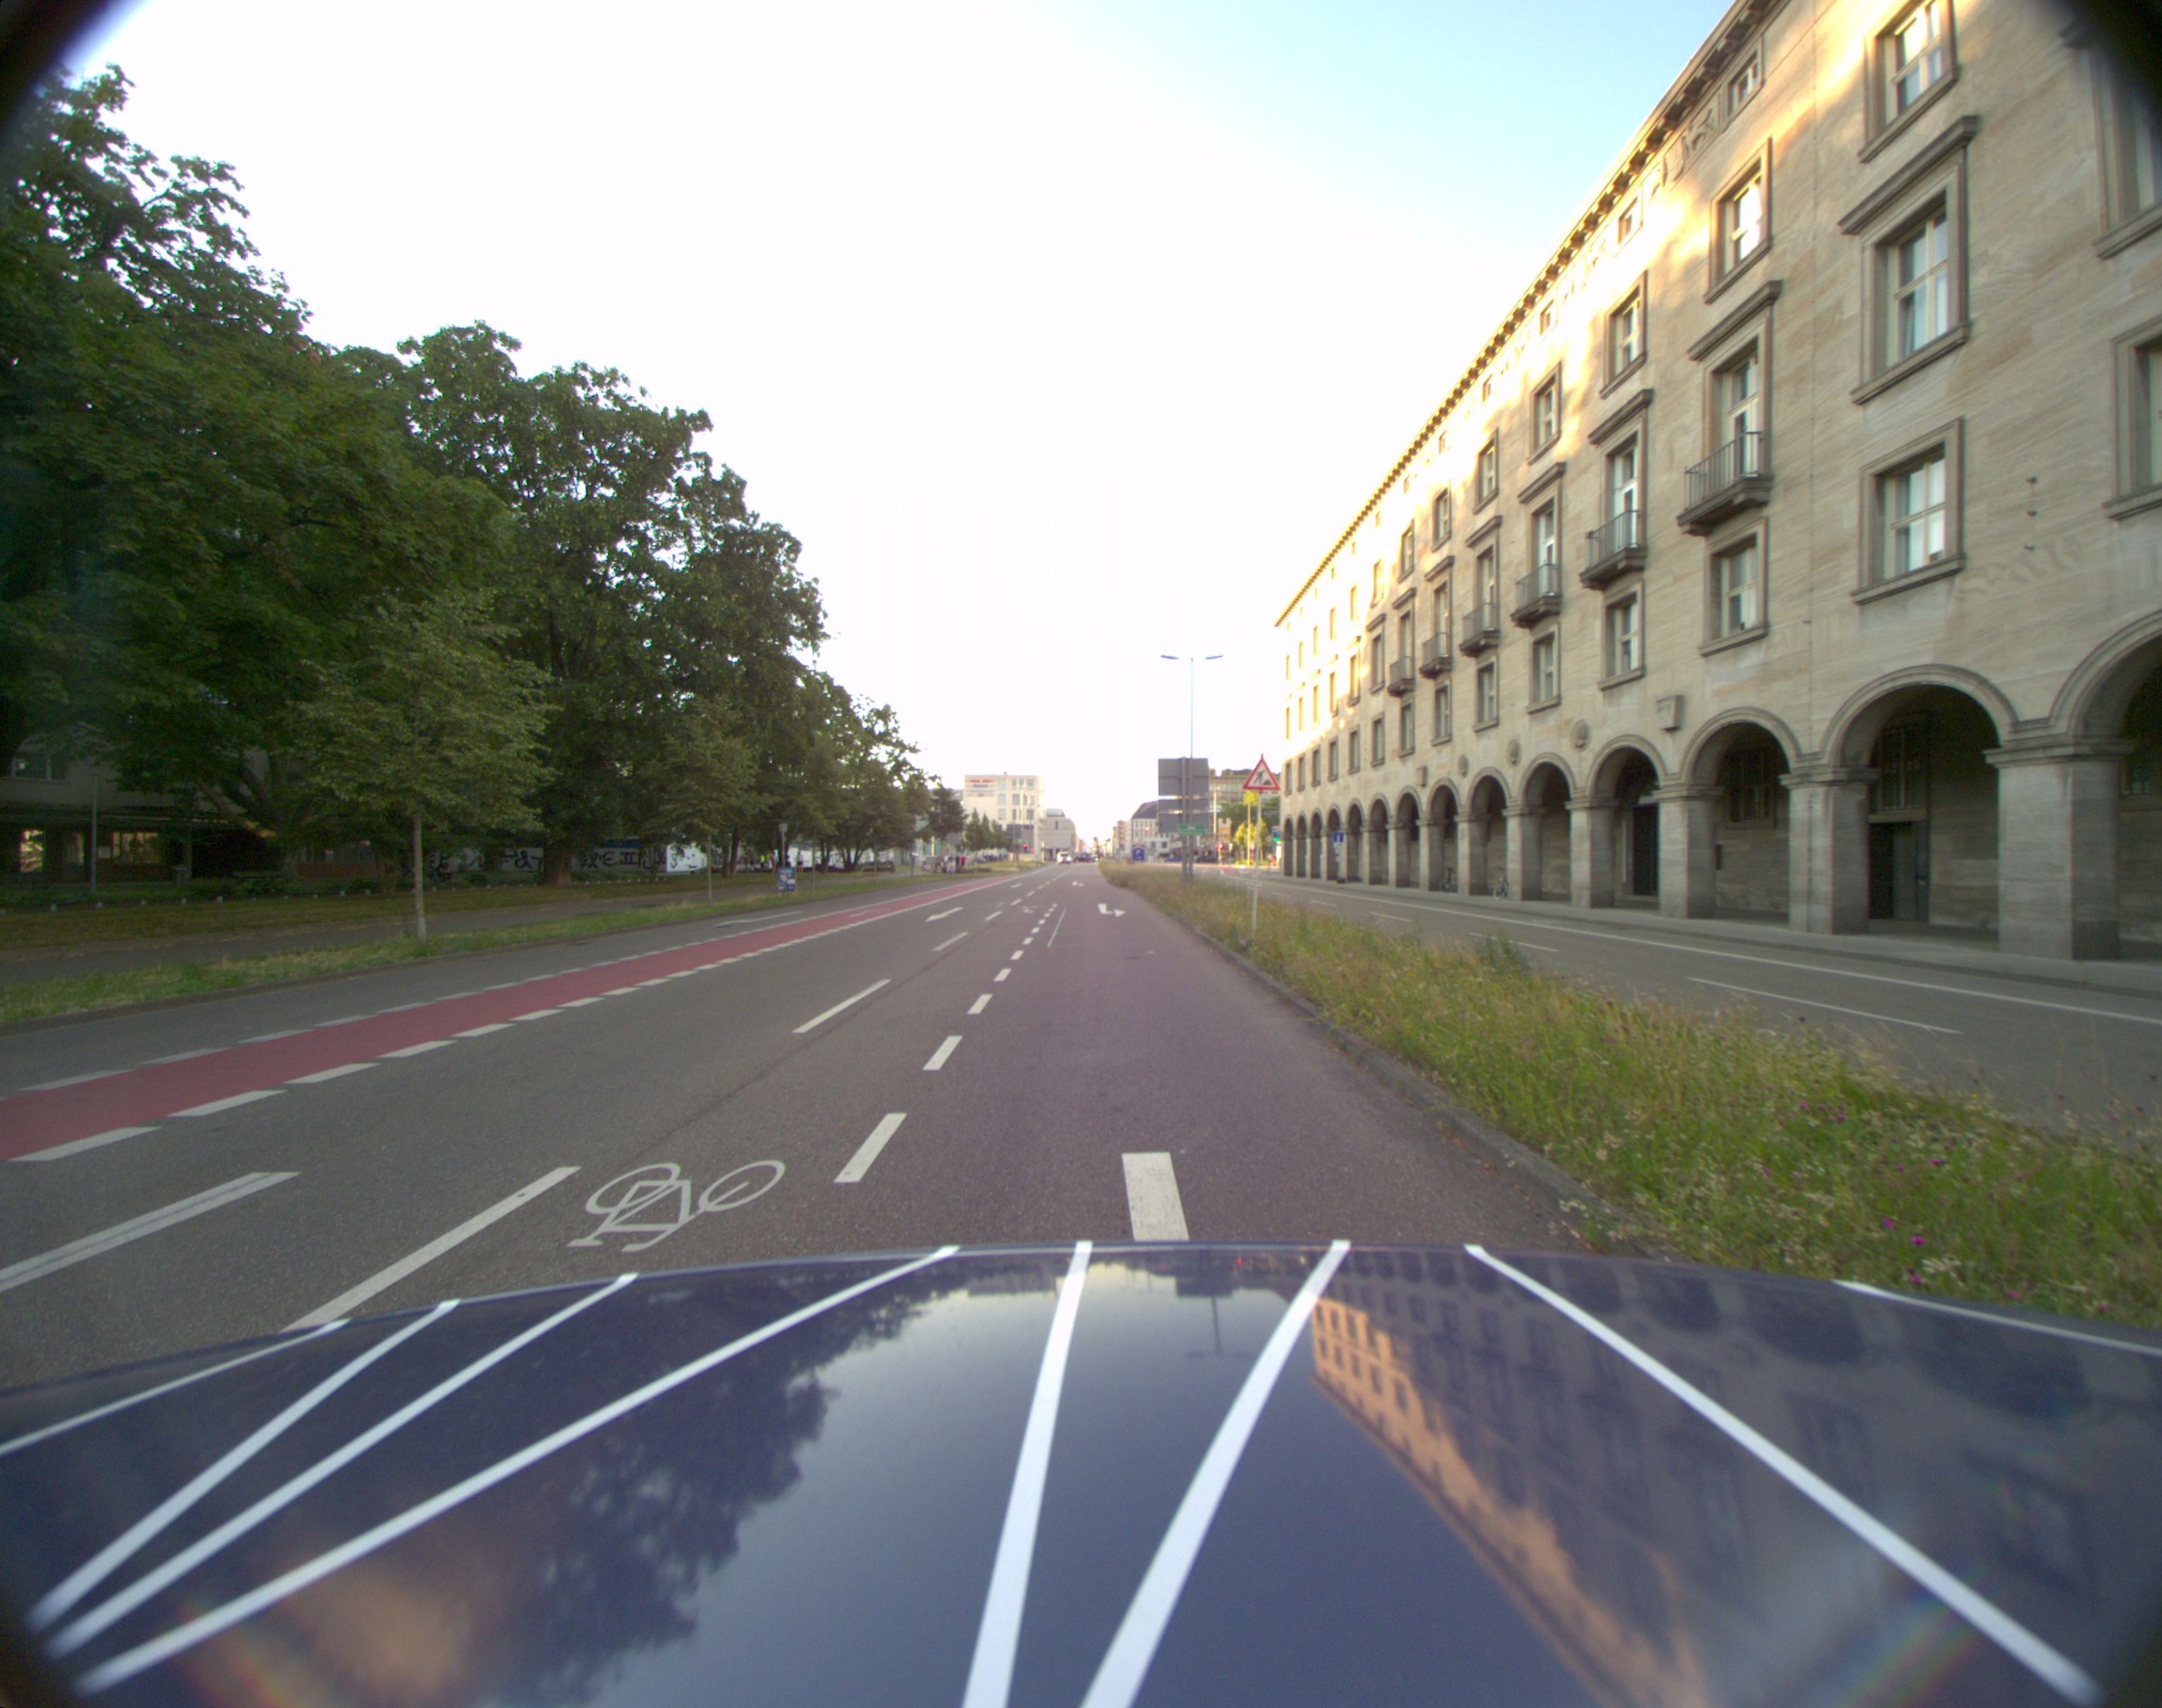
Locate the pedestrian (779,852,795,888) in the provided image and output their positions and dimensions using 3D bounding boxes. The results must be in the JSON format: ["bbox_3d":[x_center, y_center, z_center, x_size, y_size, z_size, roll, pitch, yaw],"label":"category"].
[{"bbox_3d":[-14.095,0.760,36.397,0.558,1.729,0.555,0,1,1],"label":"pedestrian"}]

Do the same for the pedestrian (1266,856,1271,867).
[{"bbox_3d":[27.118,1.122,109.841,0.526,1.532,0.390,0,1,1],"label":"pedestrian"}]

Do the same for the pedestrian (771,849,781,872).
[{"bbox_3d":[-20.845,0.424,51.893,0.500,1.592,0.365,0,1,1],"label":"pedestrian"}]

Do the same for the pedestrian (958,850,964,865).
[{"bbox_3d":[-14.219,0.430,90.238,0.638,1.747,0.506,0,1,1],"label":"pedestrian"}]

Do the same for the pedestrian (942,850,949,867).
[{"bbox_3d":[-13.618,0.468,76.237,0.509,1.720,0.719,0,1,1],"label":"pedestrian"}]

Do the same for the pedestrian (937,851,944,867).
[{"bbox_3d":[-14.641,0.517,79.273,0.519,1.720,0.719,0,1,1],"label":"pedestrian"}]

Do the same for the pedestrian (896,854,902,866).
[{"bbox_3d":[-20.159,0.657,84.120,0.519,1.347,0.773,0,1,1],"label":"pedestrian"}]

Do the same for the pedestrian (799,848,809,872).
[{"bbox_3d":[-18.887,0.422,51.872,0.500,1.592,0.522,0,1,1],"label":"pedestrian"}]

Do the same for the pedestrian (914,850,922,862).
[{"bbox_3d":[-19.168,0.249,89.334,0.728,1.347,0.614,0,1,1],"label":"pedestrian"}]

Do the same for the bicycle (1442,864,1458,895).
[{"bbox_3d":[14.997,1.028,30.884,0.513,1.172,2.427,0,0,25],"label":"bicycle"}]

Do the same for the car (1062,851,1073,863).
[{"bbox_3d":[-2.103,0.447,118.254,1.767,1.877,4.499,0,0,-1],"label":"car"}]

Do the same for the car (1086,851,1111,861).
[{"bbox_3d":[3.102,0.398,135.292,4.000,1.797,1.998,0,0,-9],"label":"car"}]

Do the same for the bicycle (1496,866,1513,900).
[{"bbox_3d":[15.489,1.039,27.764,0.513,1.115,2.427,0,1,30],"label":"bicycle"}]

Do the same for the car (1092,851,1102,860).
[{"bbox_3d":[3.554,0.273,170.180,1.999,2.002,3.999,0,0,0],"label":"car"}]

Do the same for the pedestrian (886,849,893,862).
[{"bbox_3d":[-21.161,0.162,83.955,0.519,1.347,0.773,0,1,1],"label":"pedestrian"}]

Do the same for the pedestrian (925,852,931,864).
[{"bbox_3d":[-17.878,0.488,88.876,0.662,1.347,0.559,0,1,1],"label":"pedestrian"}]

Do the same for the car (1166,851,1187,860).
[{"bbox_3d":[20.869,0.343,166.385,4.437,2.002,2.000,0,0,3],"label":"car"}]

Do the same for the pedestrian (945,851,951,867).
[{"bbox_3d":[-13.869,0.520,79.324,0.509,1.720,0.719,0,1,1],"label":"pedestrian"}]

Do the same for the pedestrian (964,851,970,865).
[{"bbox_3d":[-13.477,0.466,89.803,0.638,1.747,0.506,0,1,1],"label":"pedestrian"}]
